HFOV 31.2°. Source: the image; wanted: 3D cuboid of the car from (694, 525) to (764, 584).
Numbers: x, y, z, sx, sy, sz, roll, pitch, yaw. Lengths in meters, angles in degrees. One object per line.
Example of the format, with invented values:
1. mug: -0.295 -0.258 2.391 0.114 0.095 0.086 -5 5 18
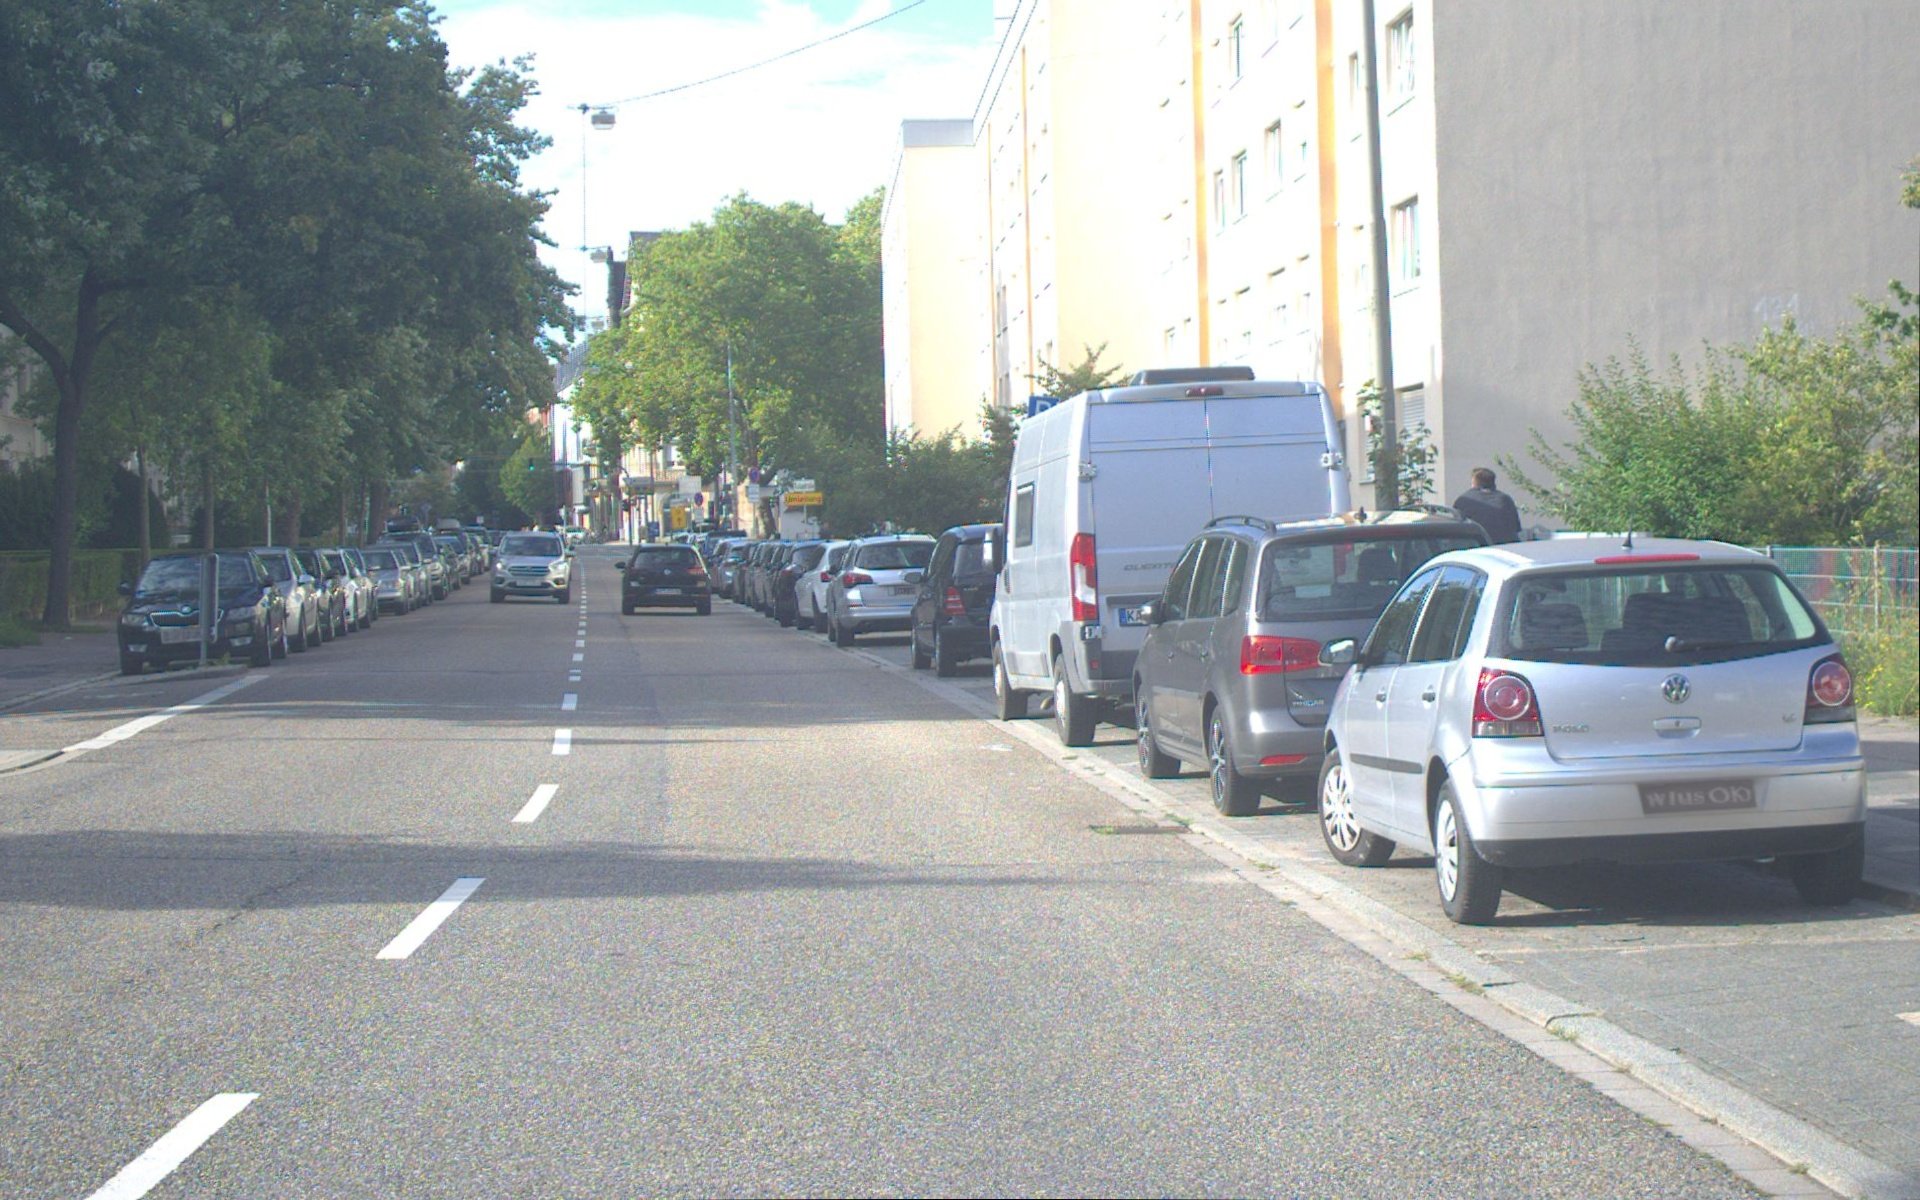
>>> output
1. car: -6.941 -1.391 103.430 1.993 1.678 4.001 -2 1 -3

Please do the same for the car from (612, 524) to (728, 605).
1. car: -5.852 -0.732 69.016 1.993 1.565 4.001 -1 1 -9

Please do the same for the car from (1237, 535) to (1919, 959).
1. car: 2.574 0.495 15.067 2.015 1.470 4.803 -2 1 -3

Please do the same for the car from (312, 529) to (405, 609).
1. car: -12.565 -0.672 71.935 1.806 1.556 3.435 -2 2 -9

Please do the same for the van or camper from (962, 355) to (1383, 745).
1. van or camper: 1.466 -0.408 26.211 2.209 2.598 5.373 -2 1 -7

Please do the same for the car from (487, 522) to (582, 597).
1. car: -10.073 -0.974 81.176 2.055 1.658 3.927 -2 2 -9

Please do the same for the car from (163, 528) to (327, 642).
1. car: -9.882 -0.243 47.747 1.993 1.446 3.905 -2 2 -9

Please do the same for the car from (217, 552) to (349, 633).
1. car: -10.394 -0.134 52.969 1.806 1.112 3.592 -2 2 -9

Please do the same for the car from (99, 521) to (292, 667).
1. car: -9.316 -0.118 42.167 1.993 1.634 4.001 -2 1 -9

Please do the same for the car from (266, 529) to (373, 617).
1. car: -10.852 -0.476 58.366 1.637 1.385 3.435 -2 1 -9

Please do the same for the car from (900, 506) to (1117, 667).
1. car: 0.466 -0.186 37.118 1.993 1.568 4.001 -2 1 -3

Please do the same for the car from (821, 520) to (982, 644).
1. car: -0.855 -0.281 47.535 1.993 1.568 4.001 -2 1 -3

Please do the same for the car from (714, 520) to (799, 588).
1. car: -5.039 -1.148 85.059 1.993 1.568 4.001 -2 1 -3

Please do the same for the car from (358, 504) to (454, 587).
1. car: -14.249 -1.423 88.595 1.993 2.006 4.001 -2 1 -3

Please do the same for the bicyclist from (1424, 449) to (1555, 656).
1. bicyclist: 4.032 -0.366 26.244 0.737 1.508 0.875 -4 1 -3

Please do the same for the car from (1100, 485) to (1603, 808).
1. car: 2.142 0.190 20.140 1.993 1.610 4.409 -2 1 -6

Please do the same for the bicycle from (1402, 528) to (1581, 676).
1. bicycle: 4.047 -0.011 26.399 0.740 1.031 2.762 -4 1 -3

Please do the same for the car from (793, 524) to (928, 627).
1. car: -1.644 -0.422 55.527 1.993 1.524 4.001 -2 1 -3

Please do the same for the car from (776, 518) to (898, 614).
1. car: -2.185 -0.624 60.159 1.993 1.568 4.001 -2 1 -3
